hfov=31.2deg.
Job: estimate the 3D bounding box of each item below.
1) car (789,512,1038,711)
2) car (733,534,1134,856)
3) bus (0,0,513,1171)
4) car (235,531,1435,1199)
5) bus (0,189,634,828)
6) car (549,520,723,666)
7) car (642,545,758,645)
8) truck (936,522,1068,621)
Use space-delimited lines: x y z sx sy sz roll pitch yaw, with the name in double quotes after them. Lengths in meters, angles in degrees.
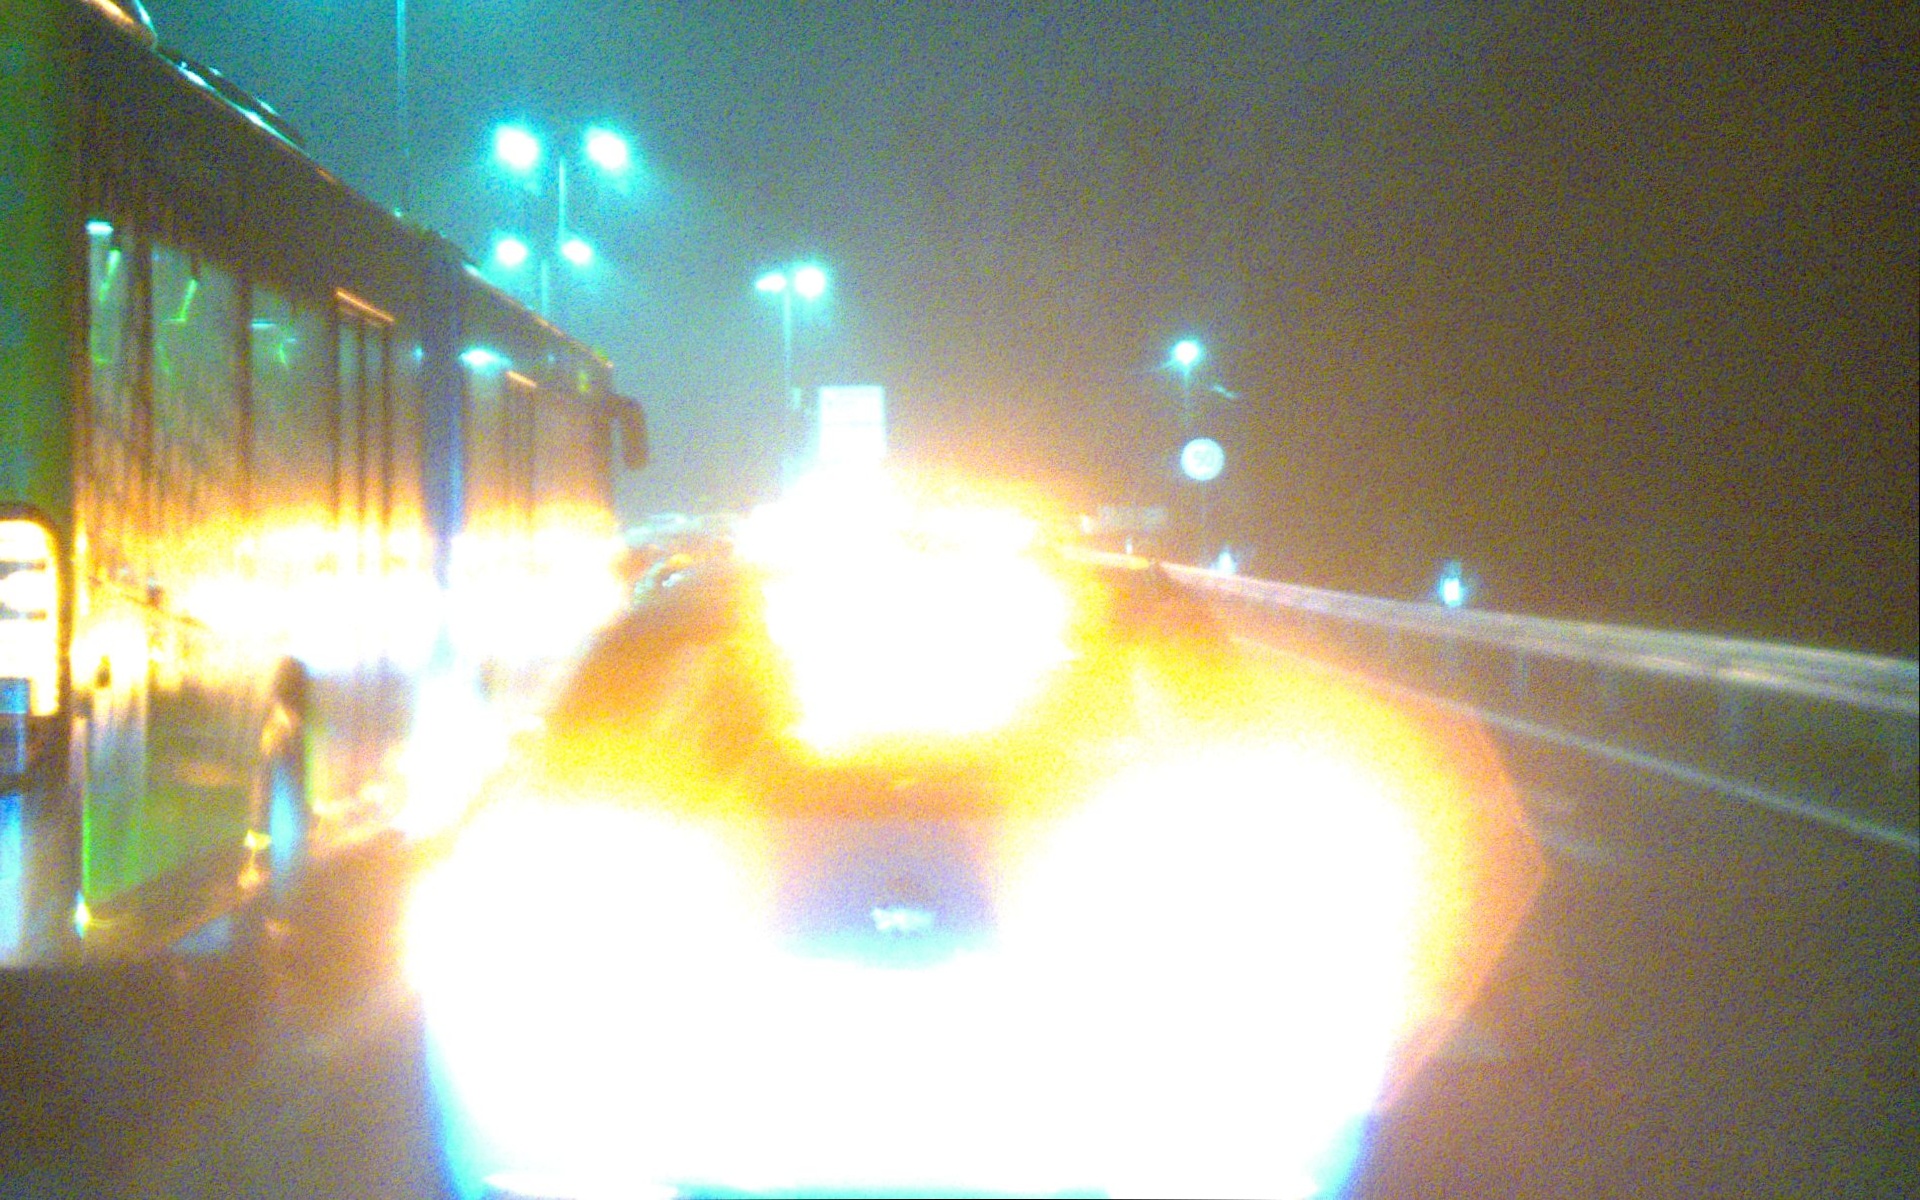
-0.361 0.059 27.219 1.822 1.456 3.716 0 1 -1 "car"
-0.140 0.411 17.582 1.822 1.456 3.716 0 1 -1 "car"
-3.536 -0.369 12.610 2.743 3.112 9.202 2 1 -1 "bus"
-0.154 0.616 7.444 1.944 1.486 3.716 1 1 2 "car"
-3.759 -0.563 21.520 2.743 3.112 8.704 2 1 -1 "bus"
-3.513 -0.074 37.787 1.557 1.481 3.809 2 0 -1 "car"
-4.101 -0.073 54.601 1.557 1.481 3.809 2 0 -1 "car"
1.211 -0.743 94.622 3.070 2.520 7.165 2 0 5 "truck"
